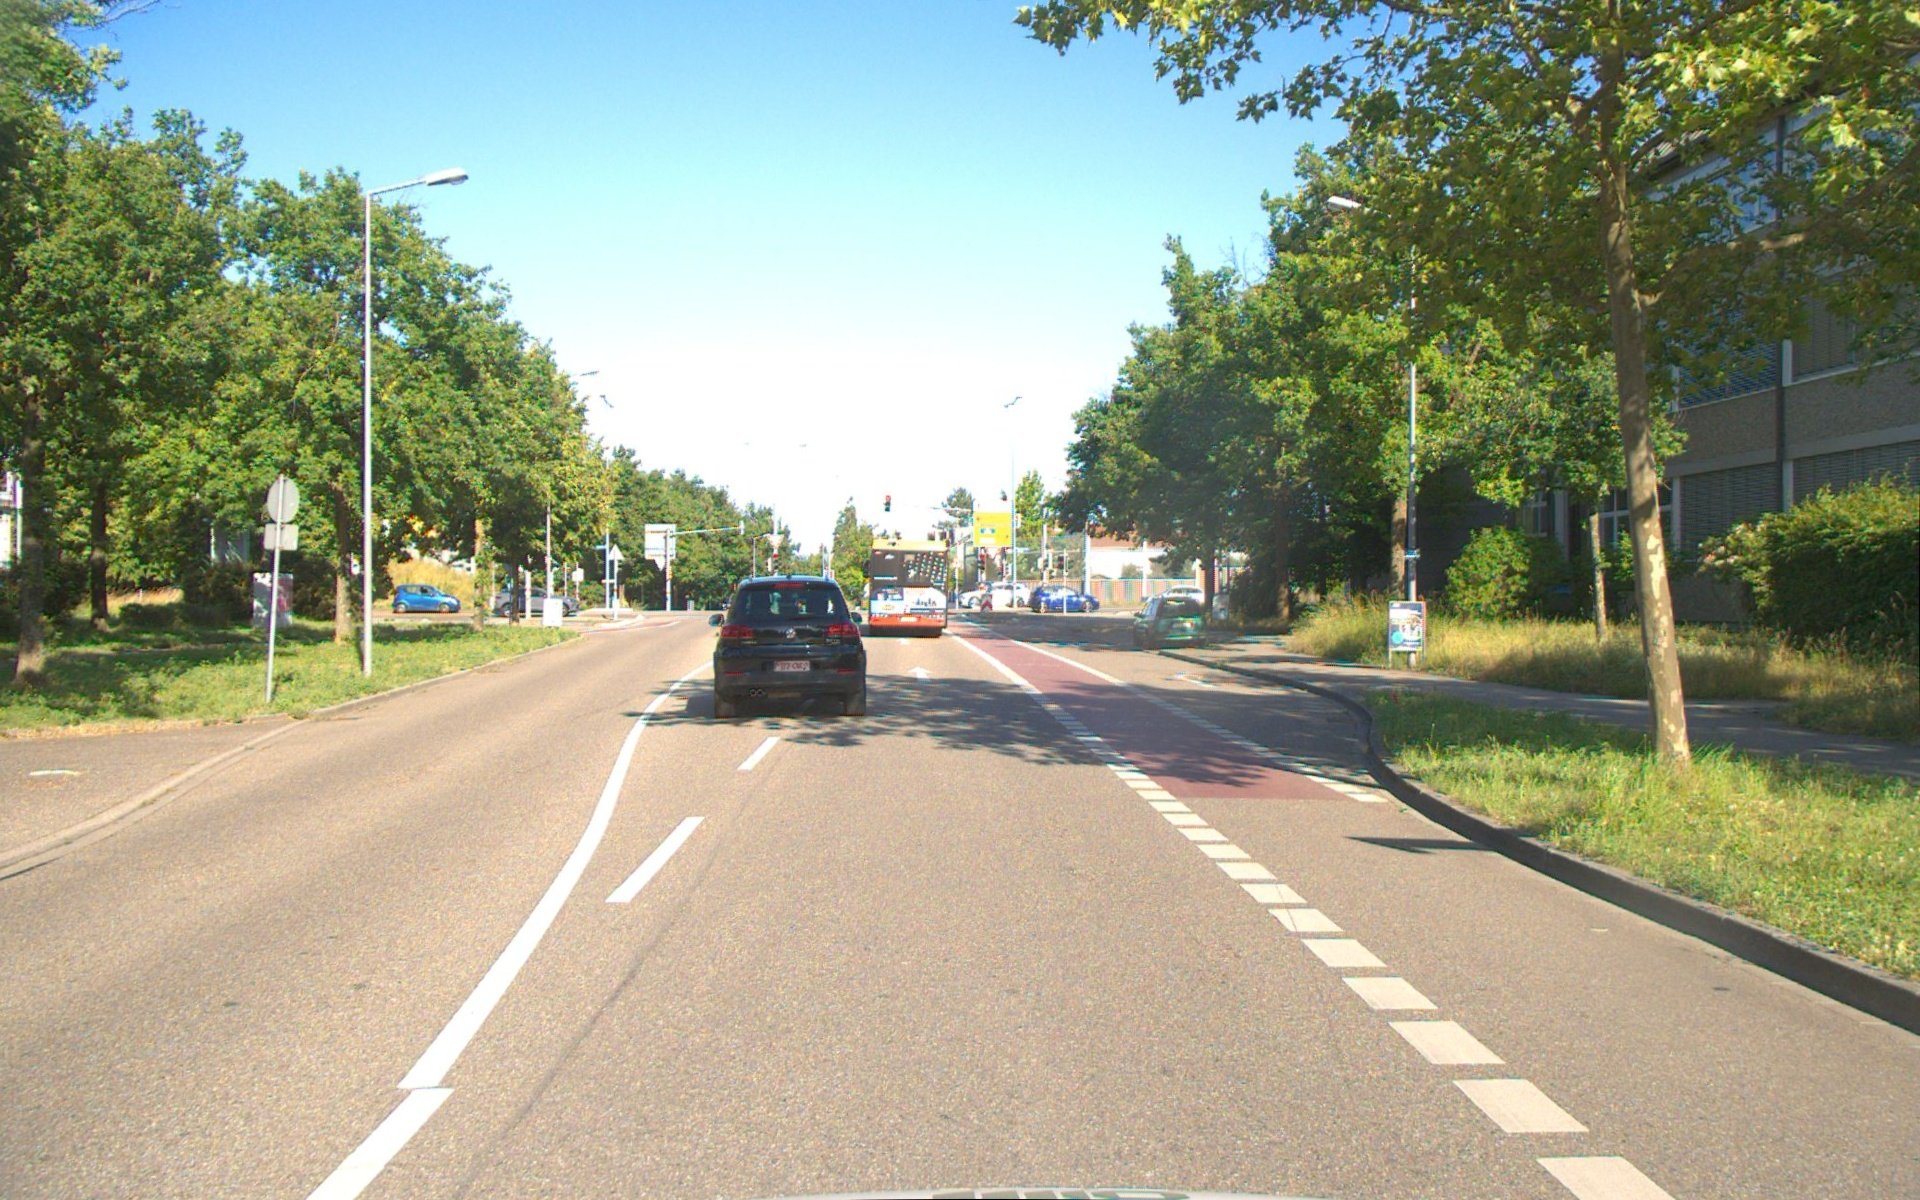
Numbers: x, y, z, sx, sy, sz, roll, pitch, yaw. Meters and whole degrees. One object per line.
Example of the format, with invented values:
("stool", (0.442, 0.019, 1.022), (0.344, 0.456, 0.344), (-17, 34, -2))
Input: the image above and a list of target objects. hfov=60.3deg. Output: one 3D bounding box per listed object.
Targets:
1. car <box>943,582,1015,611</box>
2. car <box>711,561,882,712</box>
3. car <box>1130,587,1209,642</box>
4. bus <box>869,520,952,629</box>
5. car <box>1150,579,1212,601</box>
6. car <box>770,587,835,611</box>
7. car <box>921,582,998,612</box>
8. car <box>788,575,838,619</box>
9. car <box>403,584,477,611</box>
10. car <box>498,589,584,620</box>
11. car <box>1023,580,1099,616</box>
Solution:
("car", (1.202, -0.201, 103.274), (4.300, 1.713, 1.709), (1, -1, -7))
("car", (-1.949, 0.428, 20.771), (1.784, 1.703, 4.002), (0, 0, -1))
("car", (5.885, 0.383, 46.875), (1.560, 1.453, 4.202), (-1, 0, -2))
("bus", (-1.835, -0.861, 57.945), (2.544, 3.392, 11.977), (1, 1, -3))
("car", (14.543, -0.642, 108.945), (3.774, 1.363, 1.679), (1, 0, -8))
("car", (-9.677, -0.047, 101.367), (3.822, 1.363, 1.678), (1, 0, -11))
("car", (-0.004, -0.153, 77.050), (3.447, 1.325, 1.576), (0, 0, 6))
("car", (-5.783, -0.116, 64.671), (1.721, 1.648, 4.025), (0, 0, -8))
("car", (-29.090, -0.119, 92.588), (3.778, 1.409, 1.678), (1, 0, -11))
("car", (-21.991, 0.239, 86.984), (4.141, 1.506, 1.760), (1, 0, -7))
("car", (5.574, -0.120, 91.386), (3.911, 1.913, 1.997), (1, -1, -7))
